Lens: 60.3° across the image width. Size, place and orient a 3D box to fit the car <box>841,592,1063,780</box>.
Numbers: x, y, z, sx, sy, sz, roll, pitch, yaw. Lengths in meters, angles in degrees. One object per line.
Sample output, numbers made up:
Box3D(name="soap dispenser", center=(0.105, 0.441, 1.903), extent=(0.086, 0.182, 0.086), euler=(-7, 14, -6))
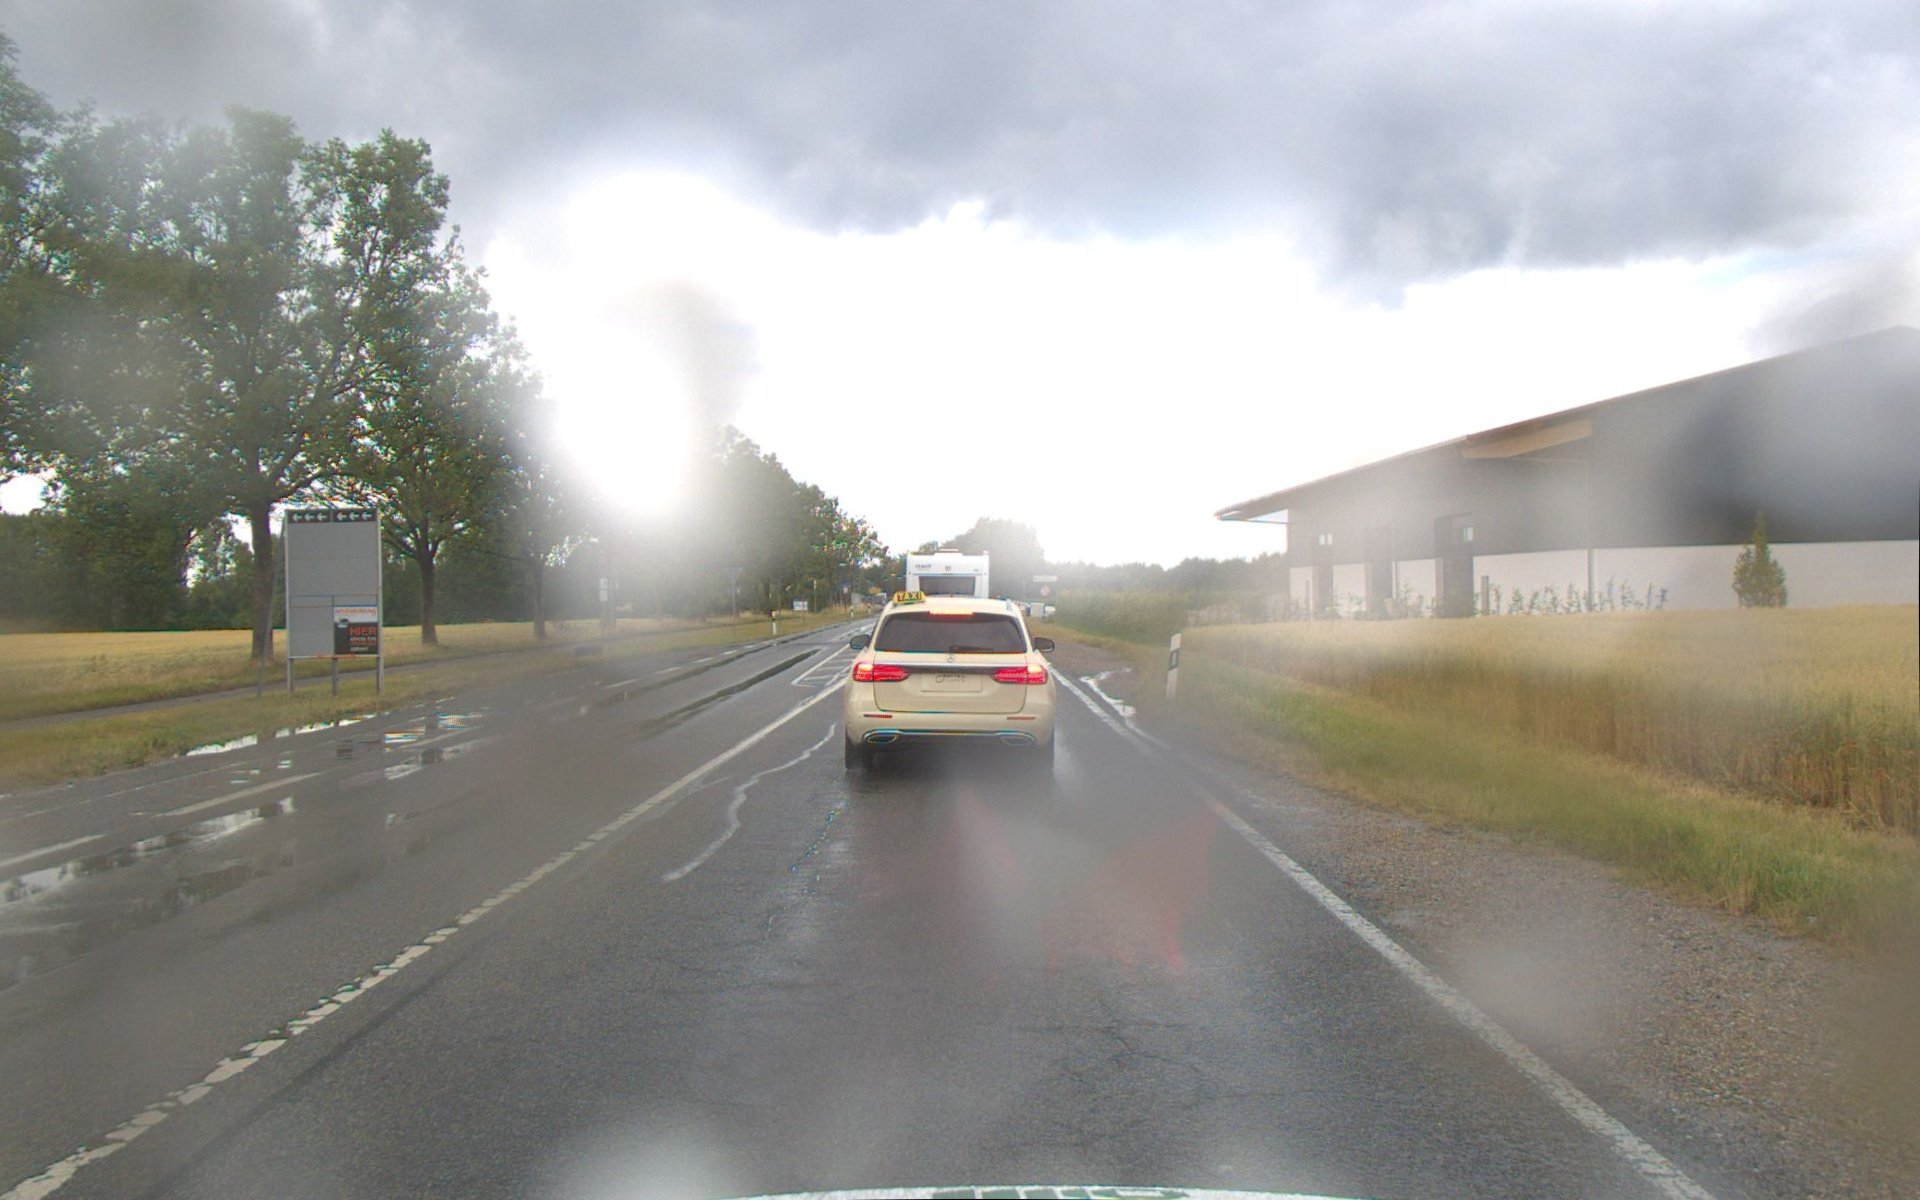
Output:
Box3D(name="car", center=(-0.061, 0.674, 15.179), extent=(1.760, 1.490, 4.031), euler=(0, 0, 0))

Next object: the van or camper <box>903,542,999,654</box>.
Box3D(name="van or camper", center=(-0.210, -0.065, 46.817), extent=(2.446, 2.880, 5.934), euler=(-2, 0, 0))

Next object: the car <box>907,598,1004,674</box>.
Box3D(name="car", center=(-0.111, 0.689, 33.820), extent=(1.856, 1.454, 3.927), euler=(0, 0, -1))

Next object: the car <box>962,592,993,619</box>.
Box3D(name="car", center=(1.071, 0.320, 100.671), extent=(1.855, 1.618, 3.928), euler=(0, 0, 1))

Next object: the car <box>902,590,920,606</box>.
Box3D(name="car", center=(-5.449, -0.187, 185.153), extent=(1.877, 1.660, 4.356), euler=(-3, 0, -1))
